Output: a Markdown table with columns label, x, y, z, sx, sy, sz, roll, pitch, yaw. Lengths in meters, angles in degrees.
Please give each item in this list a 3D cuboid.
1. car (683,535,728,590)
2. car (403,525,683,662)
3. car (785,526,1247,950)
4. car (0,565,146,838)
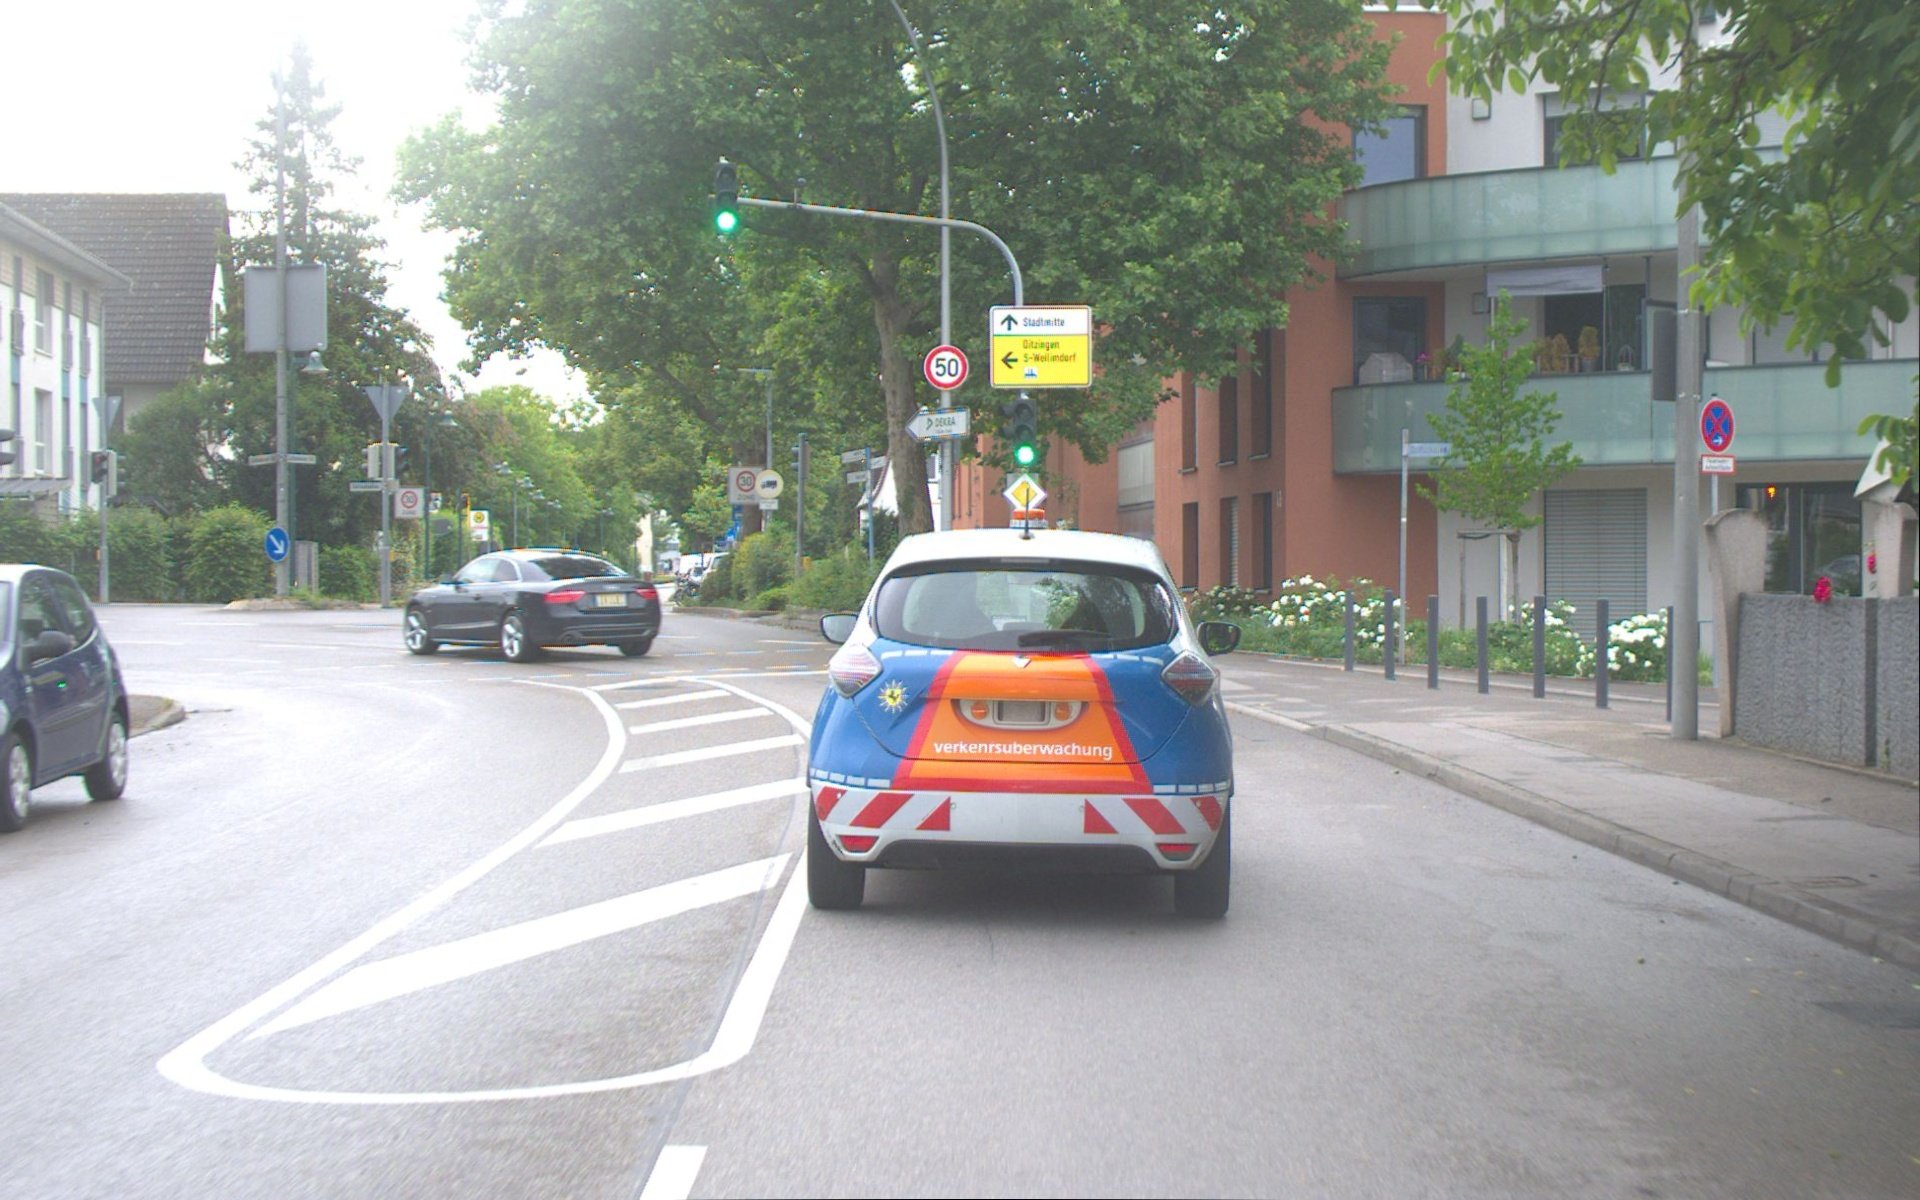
| label | x | y | z | sx | sy | sz | roll | pitch | yaw |
| --- | --- | --- | --- | --- | --- | --- | --- | --- | --- |
| car | -9.839 | -1.467 | 132.777 | 1.643 | 2.010 | 3.716 | 1 | 2 | -5 |
| car | -5.348 | -0.111 | 43.719 | 1.993 | 1.568 | 4.000 | 0 | 2 | -32 |
| car | 0.198 | 0.484 | 15.092 | 1.746 | 1.575 | 4.000 | -1 | 2 | 0 |
| car | -5.939 | 0.526 | 19.875 | 1.626 | 1.428 | 3.684 | 0 | 1 | -1 |
